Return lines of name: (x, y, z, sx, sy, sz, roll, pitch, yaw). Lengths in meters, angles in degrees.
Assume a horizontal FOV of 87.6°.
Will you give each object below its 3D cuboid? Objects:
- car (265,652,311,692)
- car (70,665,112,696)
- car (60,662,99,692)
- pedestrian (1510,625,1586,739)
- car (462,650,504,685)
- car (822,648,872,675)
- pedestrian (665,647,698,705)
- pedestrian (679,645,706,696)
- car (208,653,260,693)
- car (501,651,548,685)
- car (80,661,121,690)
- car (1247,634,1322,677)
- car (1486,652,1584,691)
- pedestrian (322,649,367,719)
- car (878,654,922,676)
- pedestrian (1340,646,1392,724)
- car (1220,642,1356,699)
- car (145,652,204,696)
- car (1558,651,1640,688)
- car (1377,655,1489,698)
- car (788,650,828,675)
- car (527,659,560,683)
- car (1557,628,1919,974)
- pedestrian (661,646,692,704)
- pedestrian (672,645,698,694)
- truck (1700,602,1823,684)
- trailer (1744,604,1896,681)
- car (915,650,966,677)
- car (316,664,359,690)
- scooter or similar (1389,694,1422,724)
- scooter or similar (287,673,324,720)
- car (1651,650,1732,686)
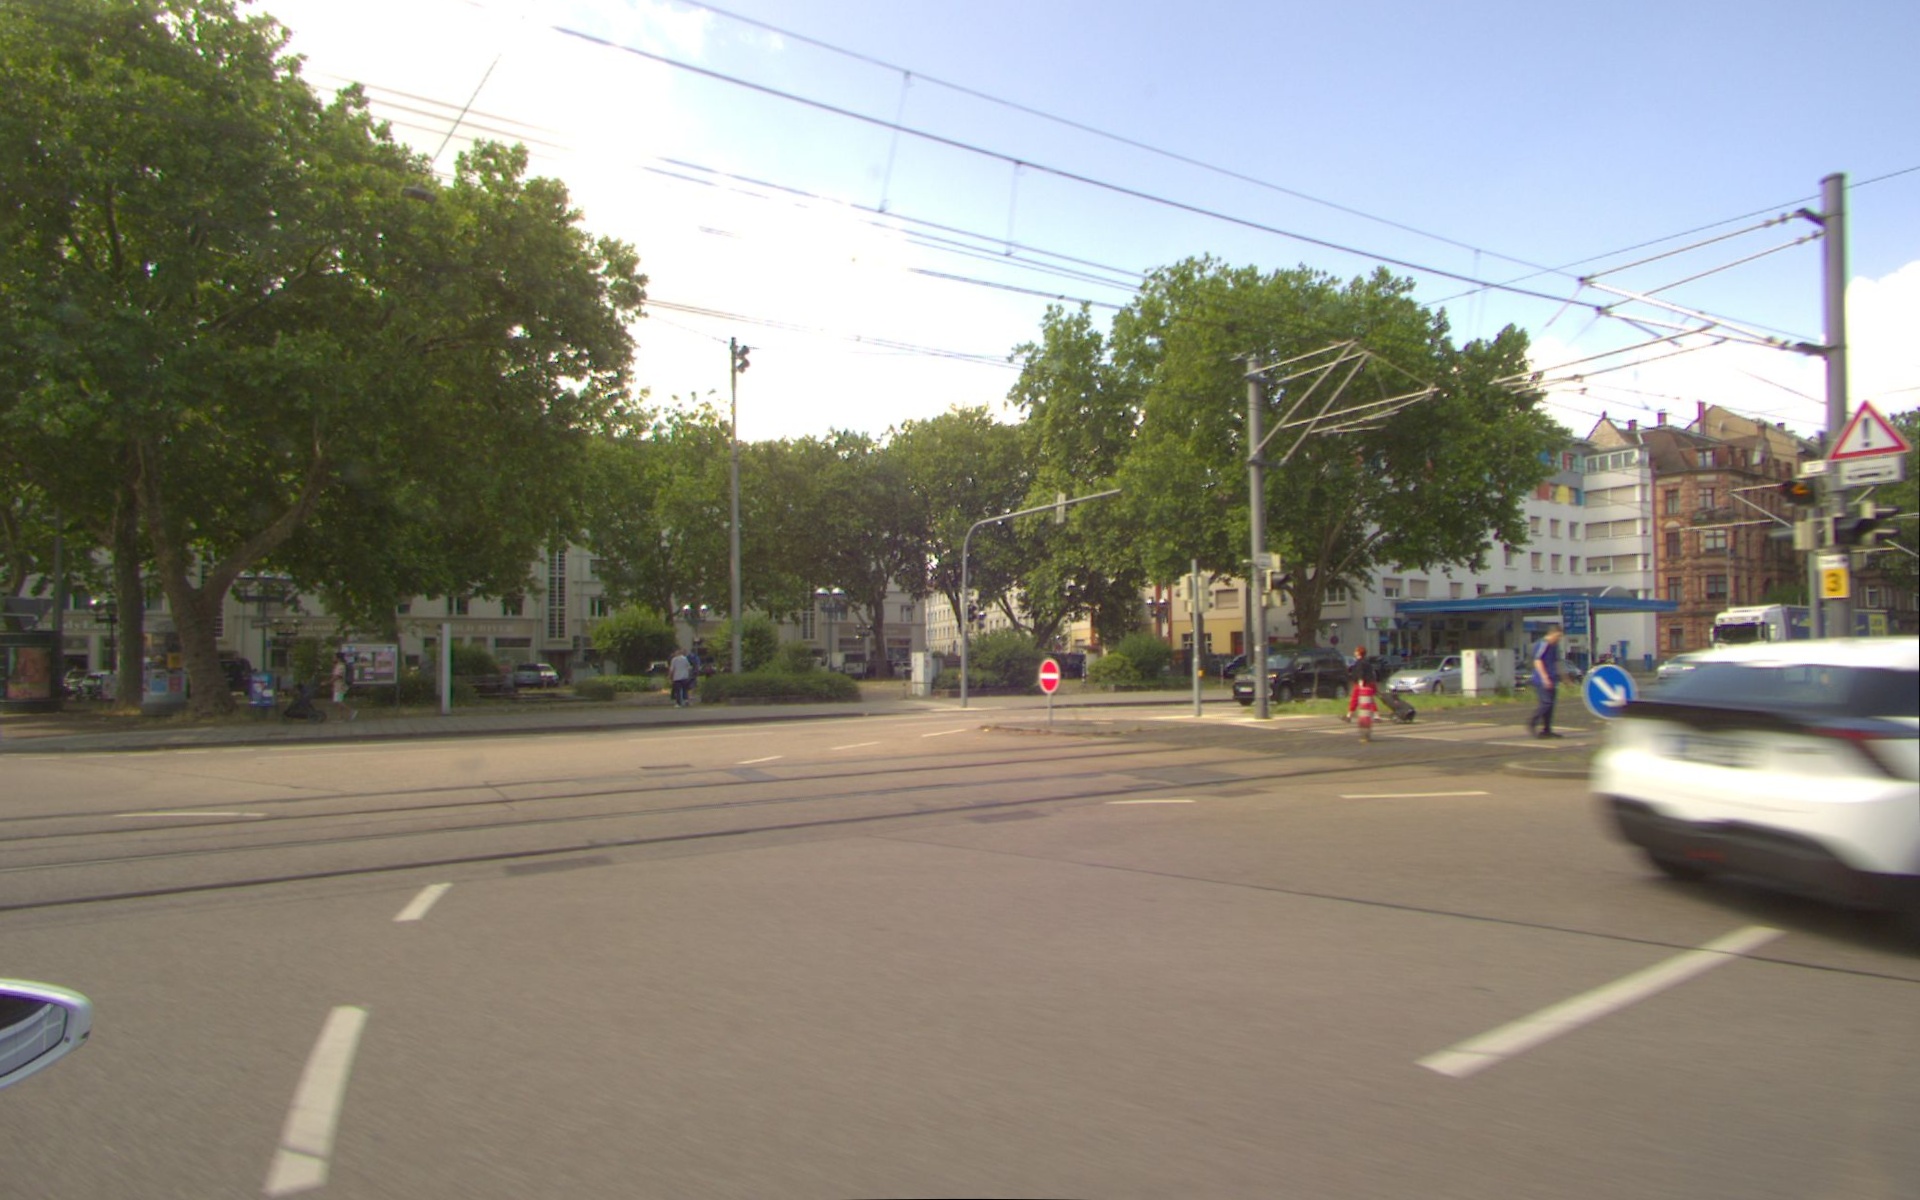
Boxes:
car: (-37.167, 3.982, 55.473, 1.973, 2.101, 3.979, 1, -4, -32)
car: (-41.673, 3.827, 48.001, 1.455, 1.406, 3.041, 2, -4, -41)
car: (-51.997, 4.526, 59.152, 1.453, 1.686, 3.046, 2, -4, -37)
pedestrian: (9.325, 1.285, 15.882, 0.734, 1.753, 0.768, 1, -3, -33)
car: (-29.391, 4.138, 61.615, 1.972, 2.038, 3.980, 1, -3, -31)
car: (-8.484, 4.609, 74.897, 2.075, 1.929, 4.470, 1, -4, -31)
pedestrian: (-8.531, 2.318, 30.674, 0.683, 1.744, 0.716, -2, -2, 33)
pedestrian: (-9.402, 2.483, 35.206, 0.597, 1.772, 0.695, -2, -2, 33)
car: (-39.403, 3.953, 54.429, 1.973, 2.101, 3.979, 1, -4, -32)
car: (-27.341, 4.249, 62.812, 1.974, 2.038, 3.976, 1, -4, -34)
car: (-43.694, 3.820, 50.947, 1.454, 1.406, 3.211, 2, -4, -39)
car: (18.829, 3.204, 58.087, 3.946, 2.450, 2.102, 1, -3, -32)
car: (23.528, 2.887, 40.974, 3.919, 1.464, 1.845, 1, -3, -32)
pedestrian: (-14.987, 2.031, 24.394, 0.910, 1.666, 0.567, 1, -3, -32)
car: (-4.711, 5.044, 77.900, 1.829, 1.701, 3.981, 1, -4, -31)
pedestrian: (8.093, 1.674, 19.964, 0.768, 1.511, 0.652, -1, -2, 45)
car: (10.722, 2.273, 32.670, 4.359, 1.748, 1.845, 2, -3, -32)
car: (-41.325, 3.884, 52.758, 1.973, 2.209, 4.235, 1, -4, -32)
car: (28.292, 3.042, 44.319, 3.703, 1.582, 1.677, 2, -3, -33)
car: (17.448, 2.767, 36.909, 4.269, 1.484, 1.725, 2, -3, -33)
car: (-12.910, 5.281, 84.775, 1.972, 1.988, 3.981, 1, -3, -31)
car: (-30.439, 5.159, 73.083, 1.720, 1.657, 3.981, 1, -4, -31)
car: (5.847, 0.920, 5.593, 4.052, 1.525, 1.820, 0, -1, -7)
pedestrian: (-8.970, 2.367, 31.726, 0.683, 1.786, 0.667, -2, -2, 33)
pedestrian: (-10.038, 2.538, 36.597, 0.598, 1.772, 0.695, -2, -2, 33)
truck: (43.119, 2.330, 53.849, 6.497, 4.200, 2.904, 1, -3, -30)
trailer: (49.639, 2.456, 57.658, 11.485, 4.128, 2.904, 1, -3, -30)
car: (-1.381, 4.416, 70.049, 1.843, 1.822, 3.981, 1, -4, -31)
car: (-35.293, 4.346, 56.798, 1.973, 1.439, 3.979, 1, -4, -32)
scooter or similar: (8.663, 2.116, 19.484, 0.307, 0.542, 0.516, 2, -2, -45)
scooter or similar: (-15.672, 2.303, 23.978, 0.699, 1.069, 0.488, 1, -3, -31)
car: (36.512, 3.345, 49.962, 4.078, 1.726, 1.845, 2, -3, -32)
